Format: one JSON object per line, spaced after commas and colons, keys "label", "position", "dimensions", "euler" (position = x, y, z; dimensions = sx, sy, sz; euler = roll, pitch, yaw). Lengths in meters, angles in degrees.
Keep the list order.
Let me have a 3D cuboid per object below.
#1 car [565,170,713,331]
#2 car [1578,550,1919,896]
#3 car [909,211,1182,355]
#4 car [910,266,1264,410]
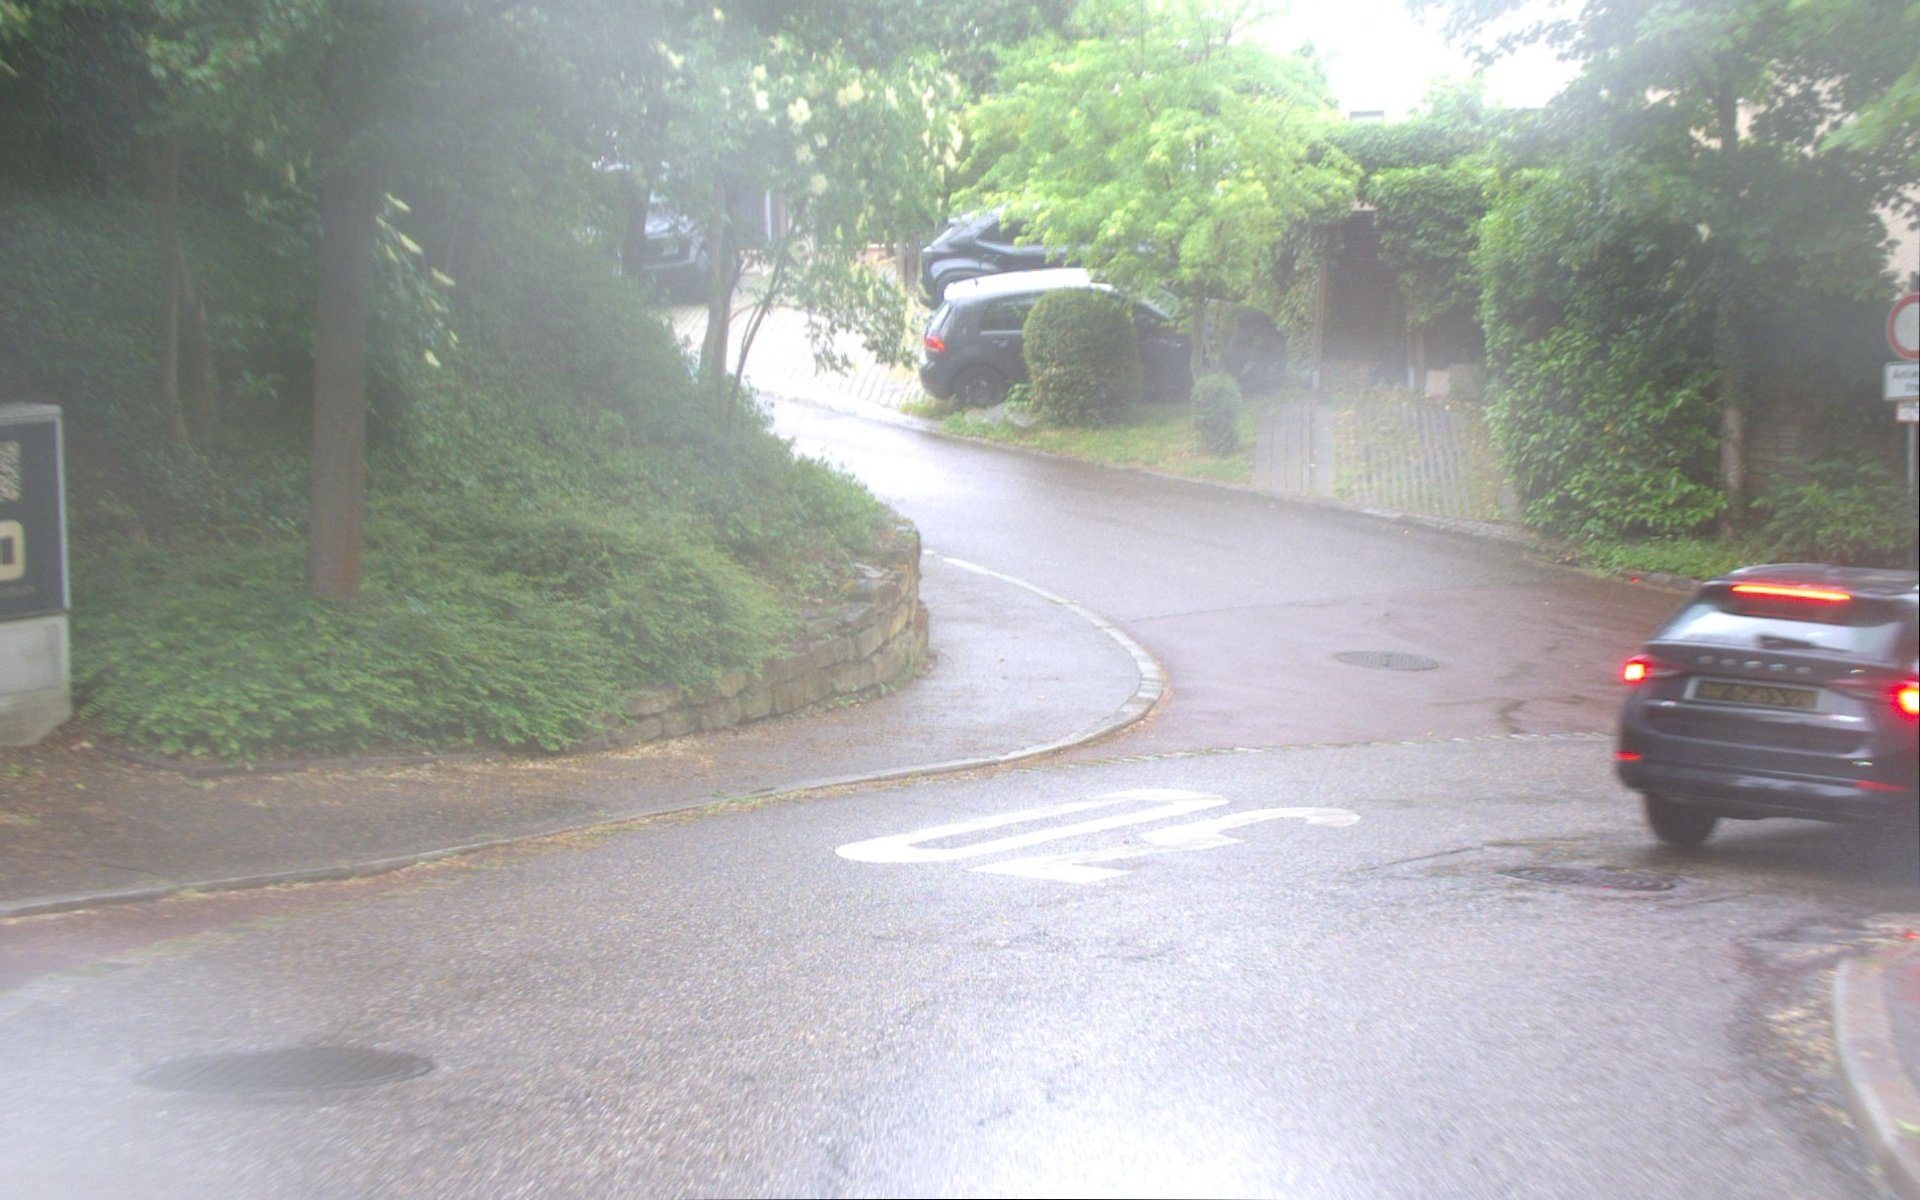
{"label": "car", "position": [-4.603, -5.046, 49.220], "dimensions": [1.887, 1.609, 4.005], "euler": [-5, 14, -4]}
{"label": "car", "position": [4.901, 0.527, 17.606], "dimensions": [1.703, 1.445, 3.991], "euler": [5, 4, 38]}
{"label": "car", "position": [1.138, -4.128, 44.624], "dimensions": [3.398, 1.568, 1.595], "euler": [1, 16, 6]}
{"label": "car", "position": [1.484, -3.028, 39.626], "dimensions": [3.987, 1.411, 1.700], "euler": [0, 12, 4]}
